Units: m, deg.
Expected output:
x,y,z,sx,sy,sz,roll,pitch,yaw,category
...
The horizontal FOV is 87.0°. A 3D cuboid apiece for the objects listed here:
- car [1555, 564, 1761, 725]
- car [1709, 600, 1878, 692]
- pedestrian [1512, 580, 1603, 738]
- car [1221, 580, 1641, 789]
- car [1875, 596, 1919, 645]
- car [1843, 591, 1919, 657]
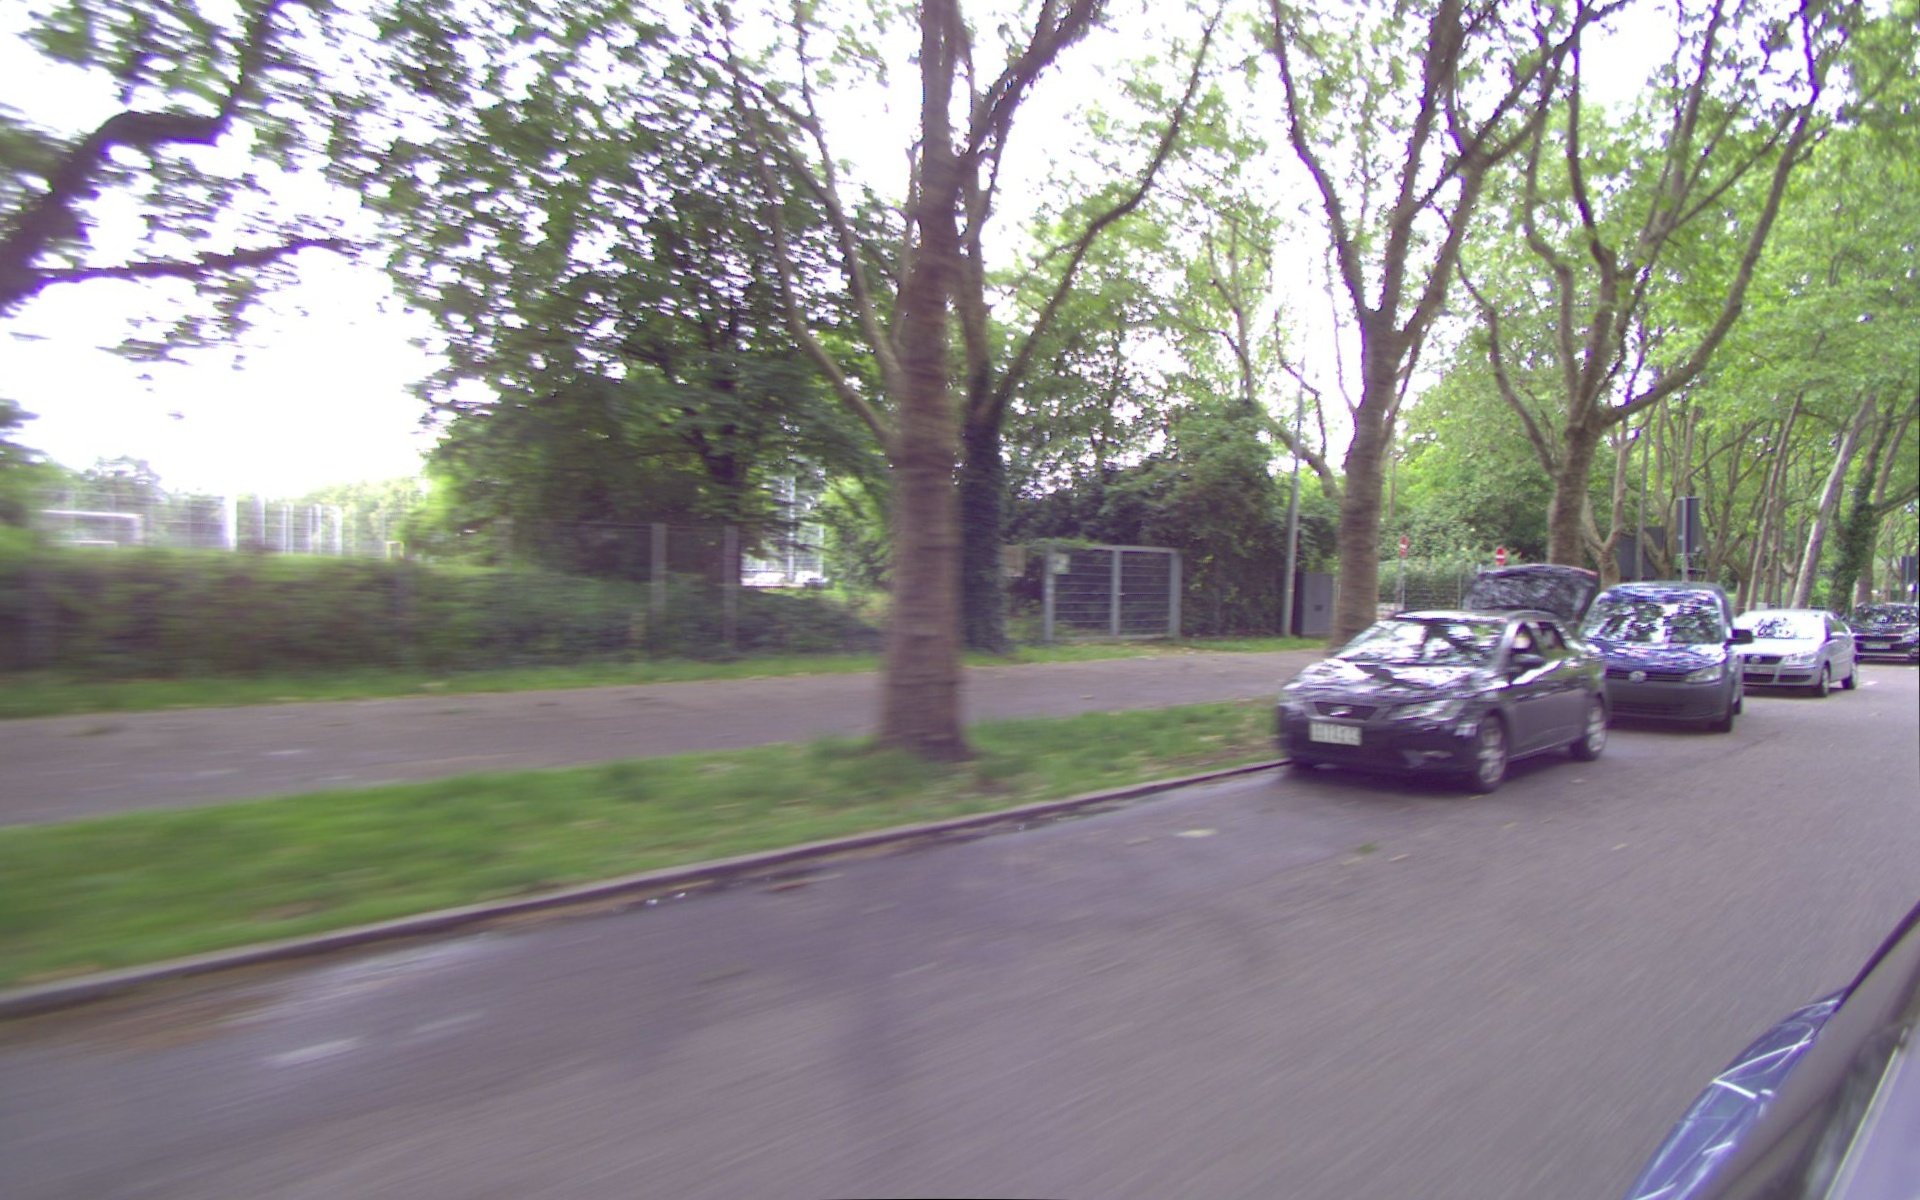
x,y,z,sx,sy,sz,roll,pitch,yaw,category
9.499,0.508,13.616,1.840,1.806,4.382,-1,-1,40,car
14.959,0.744,18.100,3.875,1.480,1.622,0,-1,-40,car
6.531,0.612,11.063,0.729,1.647,0.634,0,1,-41,pedestrian
4.525,0.592,9.426,4.295,1.497,1.997,0,0,-41,car
29.527,0.604,30.945,4.211,1.436,1.779,0,-1,-41,car
25.064,0.605,26.940,4.390,1.623,1.831,0,-1,-42,car
